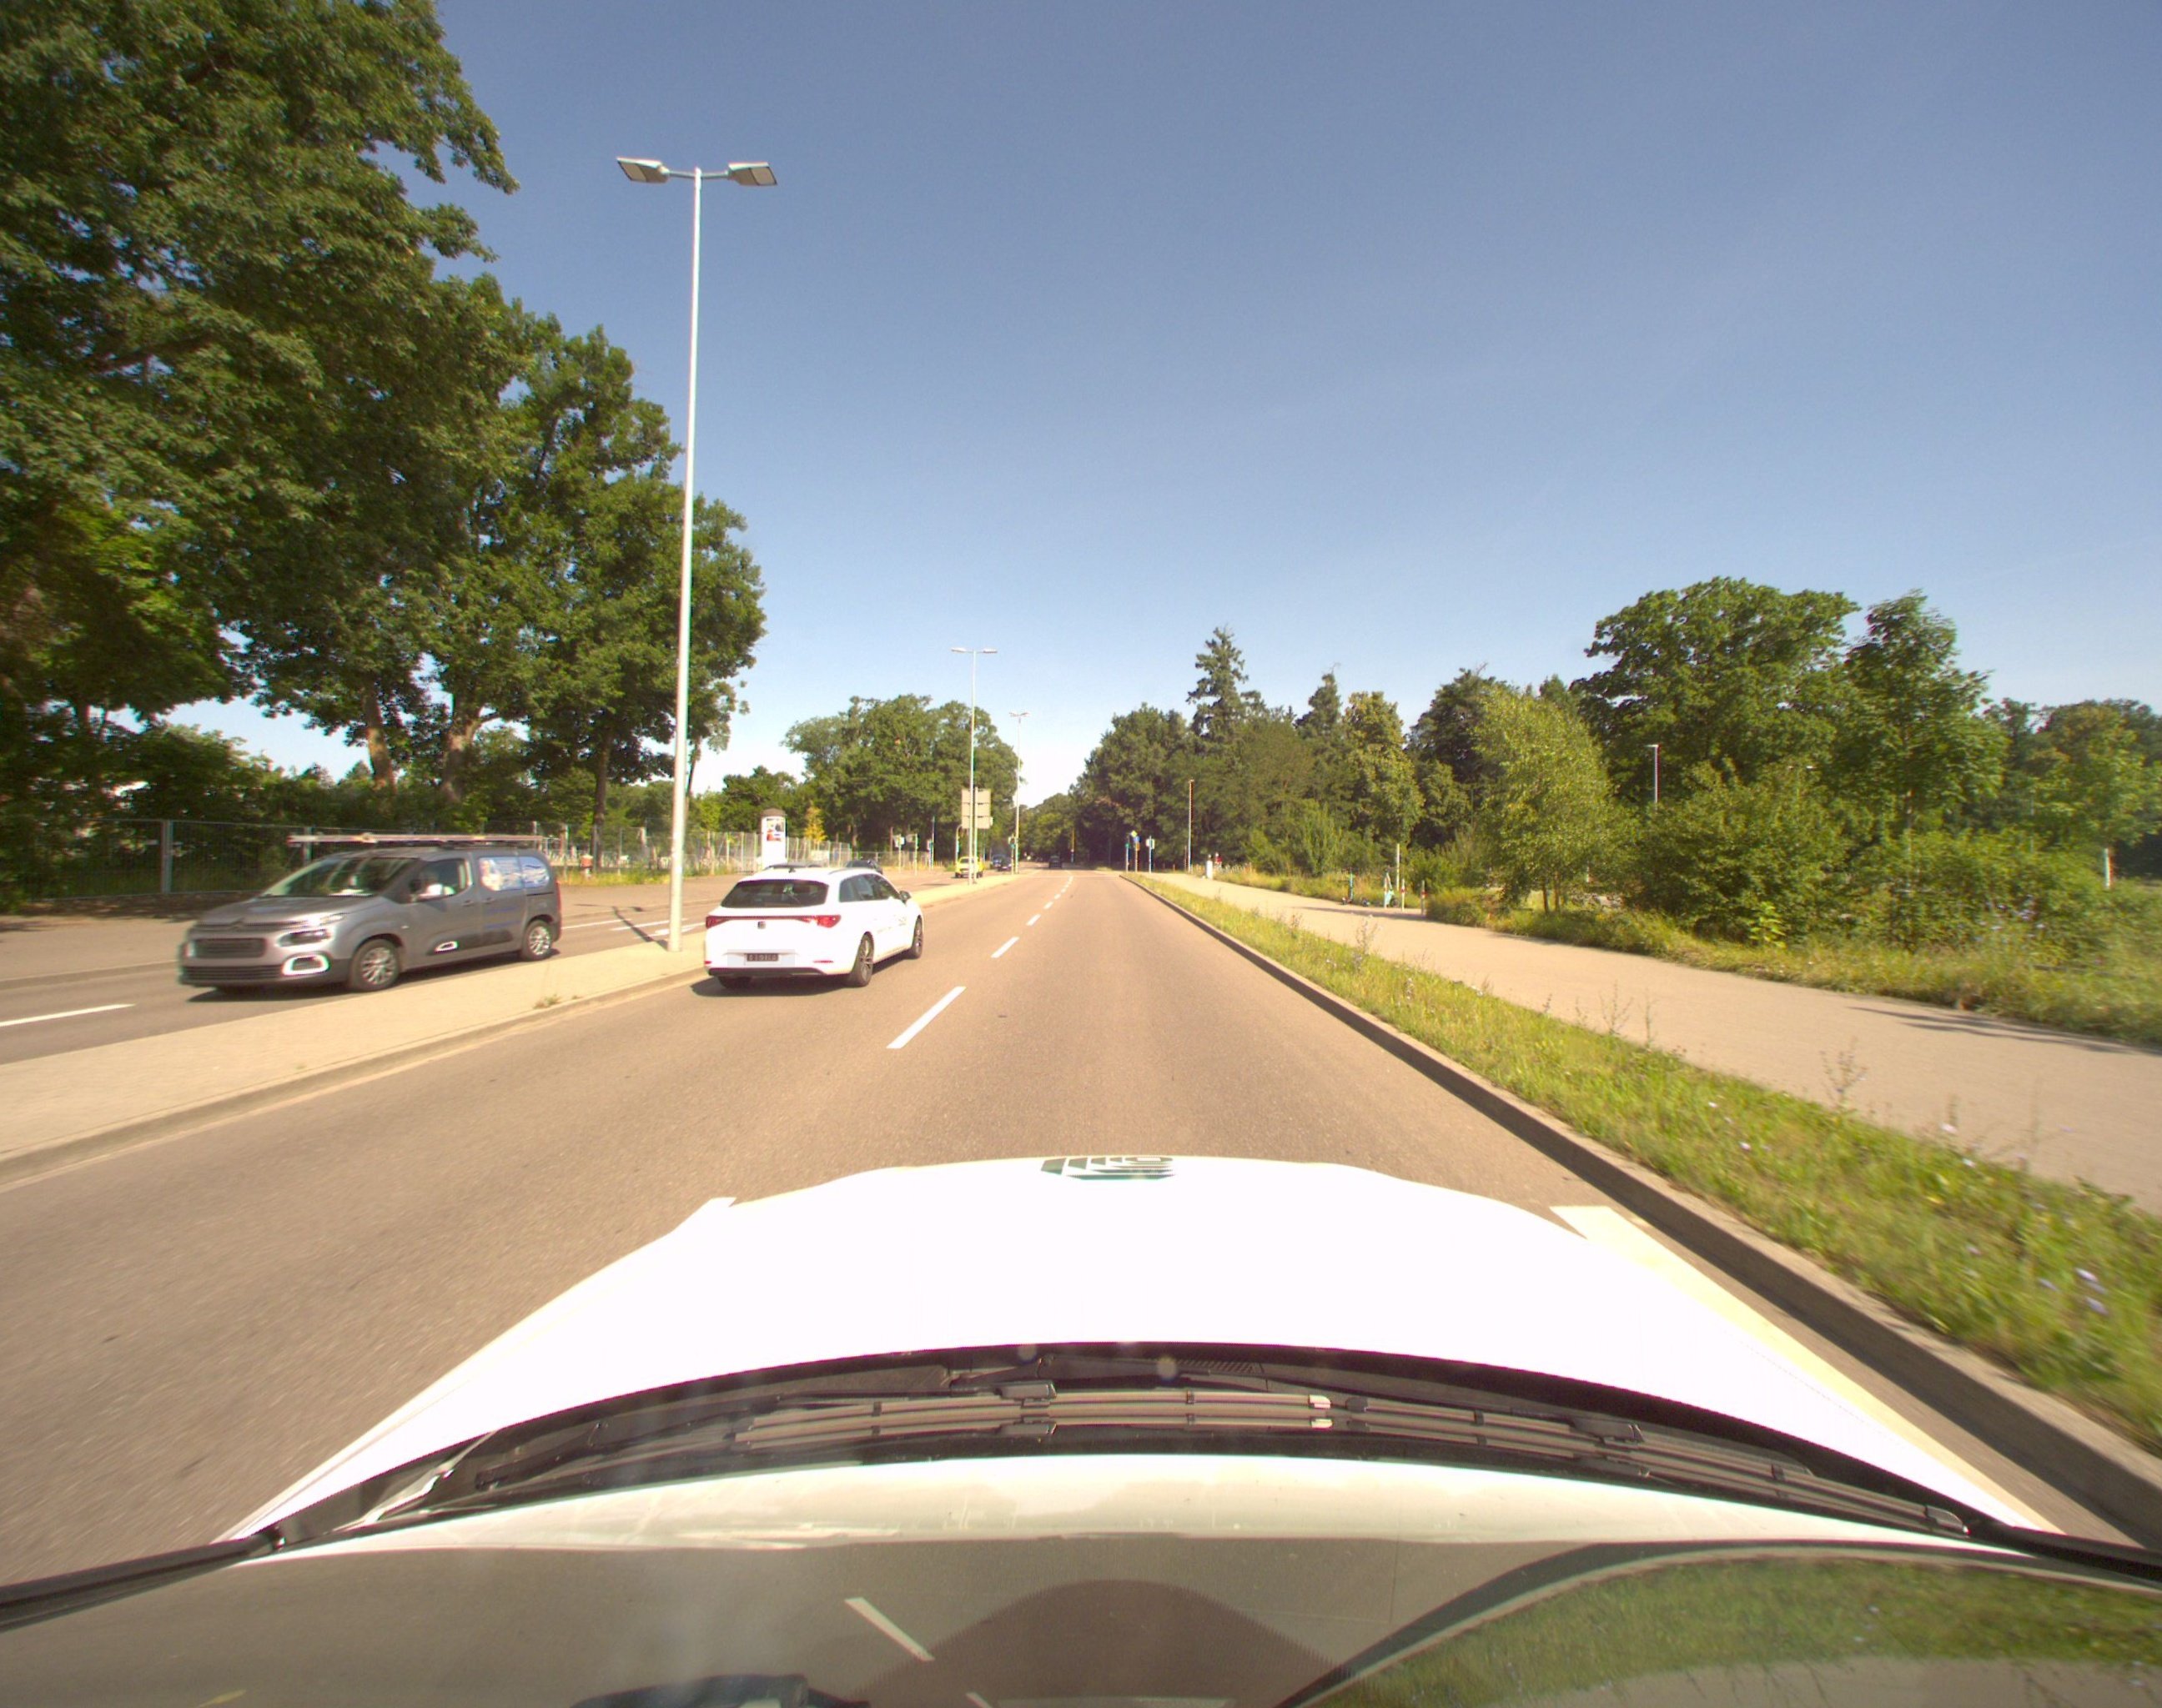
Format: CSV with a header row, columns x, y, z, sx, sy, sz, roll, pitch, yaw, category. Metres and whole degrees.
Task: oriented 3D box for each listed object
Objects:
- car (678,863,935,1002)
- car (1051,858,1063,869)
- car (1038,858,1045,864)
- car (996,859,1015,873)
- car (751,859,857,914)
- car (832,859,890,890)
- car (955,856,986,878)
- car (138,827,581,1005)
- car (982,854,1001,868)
x,y,z,sx,sy,sz,roll,pitch,yaw,category
-3.387,0.874,11.138,1.718,1.427,4.723,-1,0,2,car
-3.303,1.303,111.881,1.683,1.544,4.145,0,0,-2,car
-10.431,1.828,214.387,1.937,1.420,4.287,1,0,-4,car
-8.490,1.311,92.359,1.814,1.464,3.998,1,0,-1,car
-8.829,0.992,26.334,1.902,1.585,4.002,1,0,2,car
-11.210,1.031,41.735,1.788,1.478,4.000,1,0,1,car
-8.502,0.953,62.917,1.840,1.618,4.000,1,0,0,car
-9.273,0.683,11.174,1.834,1.932,4.631,0,0,2,car
-11.861,0.895,108.587,1.922,1.772,4.002,1,0,2,car
